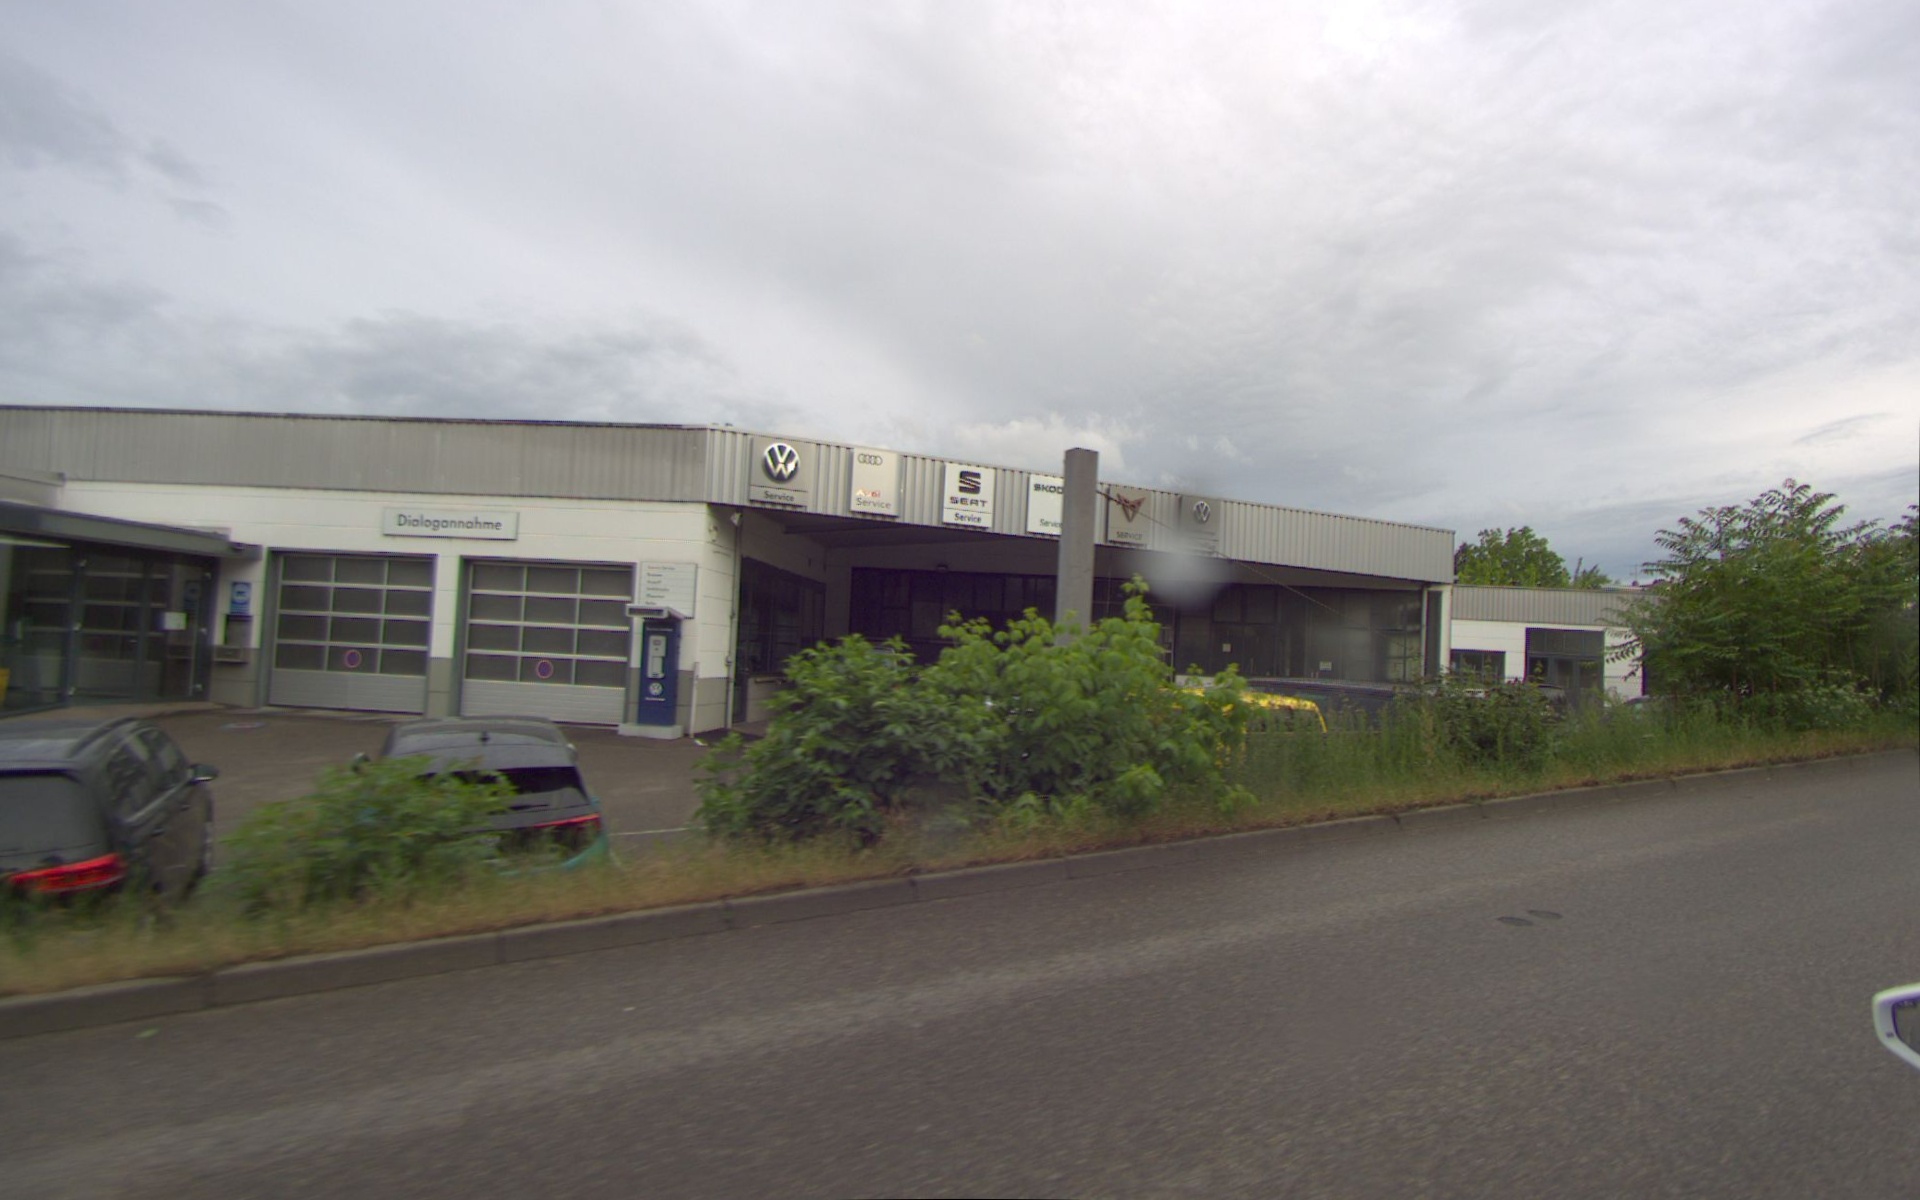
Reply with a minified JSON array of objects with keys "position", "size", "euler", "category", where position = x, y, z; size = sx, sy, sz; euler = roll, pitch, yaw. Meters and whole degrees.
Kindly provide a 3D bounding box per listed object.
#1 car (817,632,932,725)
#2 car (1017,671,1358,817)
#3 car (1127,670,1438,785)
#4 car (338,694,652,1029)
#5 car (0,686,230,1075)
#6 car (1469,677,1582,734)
[{"position":[-1.936,1.876,24.155],"size":[1.948,1.985,4.490],"euler":[1,-4,5],"category":"car"},{"position":[2.603,1.618,12.396],"size":[1.785,1.308,4.039],"euler":[1,-2,-33],"category":"car"},{"position":[4.411,1.695,14.325],"size":[1.785,1.227,4.039],"euler":[1,-2,-33],"category":"car"},{"position":[-4.165,1.847,8.586],"size":[1.855,1.821,4.202],"euler":[1,-2,-33],"category":"car"},{"position":[-6.326,1.618,6.892],"size":[1.855,1.821,4.202],"euler":[1,-2,-33],"category":"car"},{"position":[20.224,3.785,36.162],"size":[1.830,1.826,4.648],"euler":[-3,-6,7],"category":"car"}]
